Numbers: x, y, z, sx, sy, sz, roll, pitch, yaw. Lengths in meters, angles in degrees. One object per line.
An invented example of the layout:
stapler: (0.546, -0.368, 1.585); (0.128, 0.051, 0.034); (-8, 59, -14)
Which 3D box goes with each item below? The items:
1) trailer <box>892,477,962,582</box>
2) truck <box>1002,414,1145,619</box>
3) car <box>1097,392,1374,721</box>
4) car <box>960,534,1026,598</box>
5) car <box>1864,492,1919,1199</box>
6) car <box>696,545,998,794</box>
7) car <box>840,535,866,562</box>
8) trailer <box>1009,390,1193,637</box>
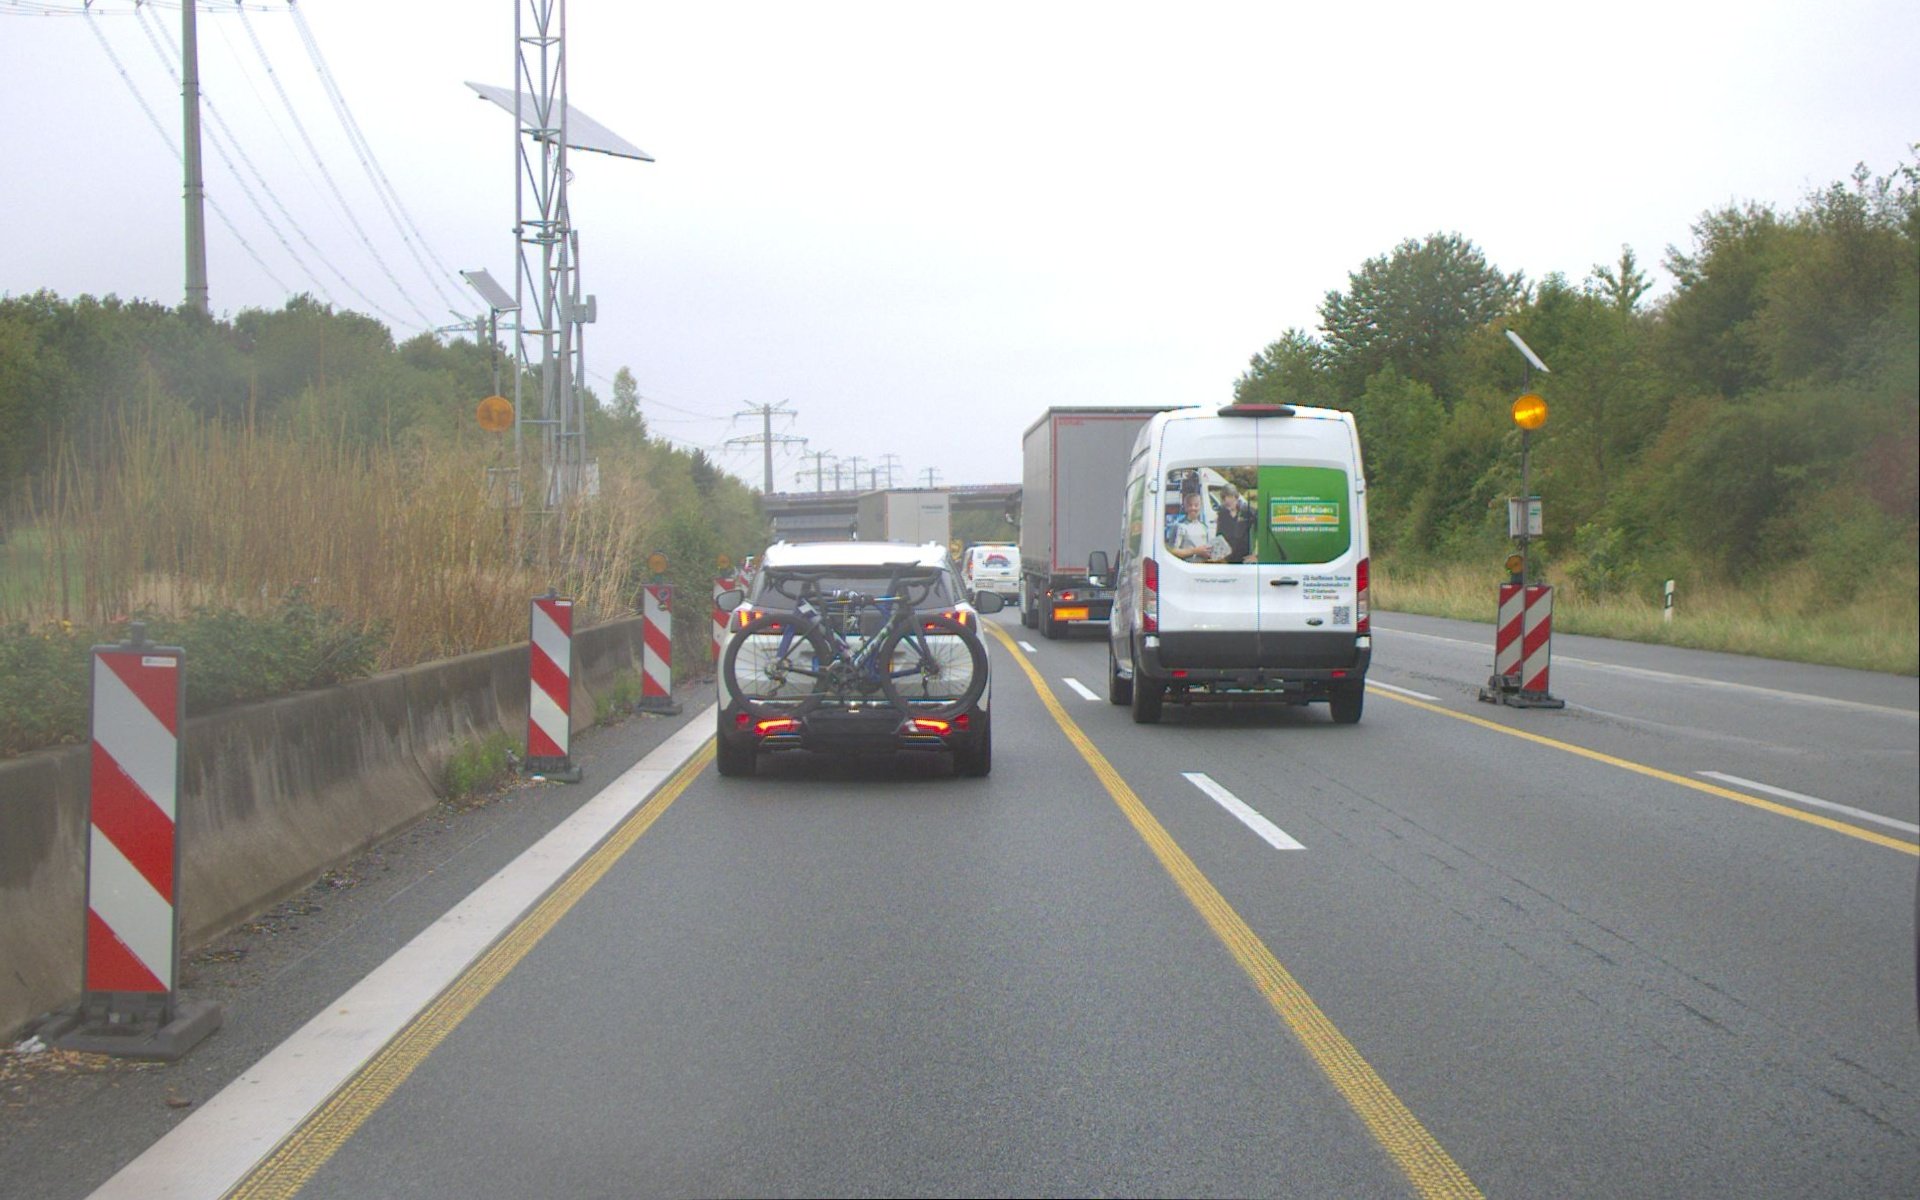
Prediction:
trailer: (-1.410, -2.823, 139.628); (2.692, 4.062, 13.634); (0, 1, -1)
truck: (2.312, -1.713, 71.854); (2.706, 4.124, 5.691); (0, 1, -1)
car: (2.445, -0.414, 31.959); (1.993, 2.773, 5.757); (0, 1, -1)
car: (0.962, -1.022, 102.304); (1.829, 1.833, 4.656); (0, 1, -1)
car: (3.075, 0.611, 6.033); (1.684, 1.653, 4.281); (0, 1, -2)
car: (-0.742, 0.393, 23.503); (1.850, 1.525, 4.769); (0, 1, -1)
car: (-8.131, -3.893, 261.602); (1.931, 1.966, 4.001); (0, 2, -1)
trailer: (2.466, -1.553, 64.470); (2.706, 4.132, 13.733); (0, 1, -1)
